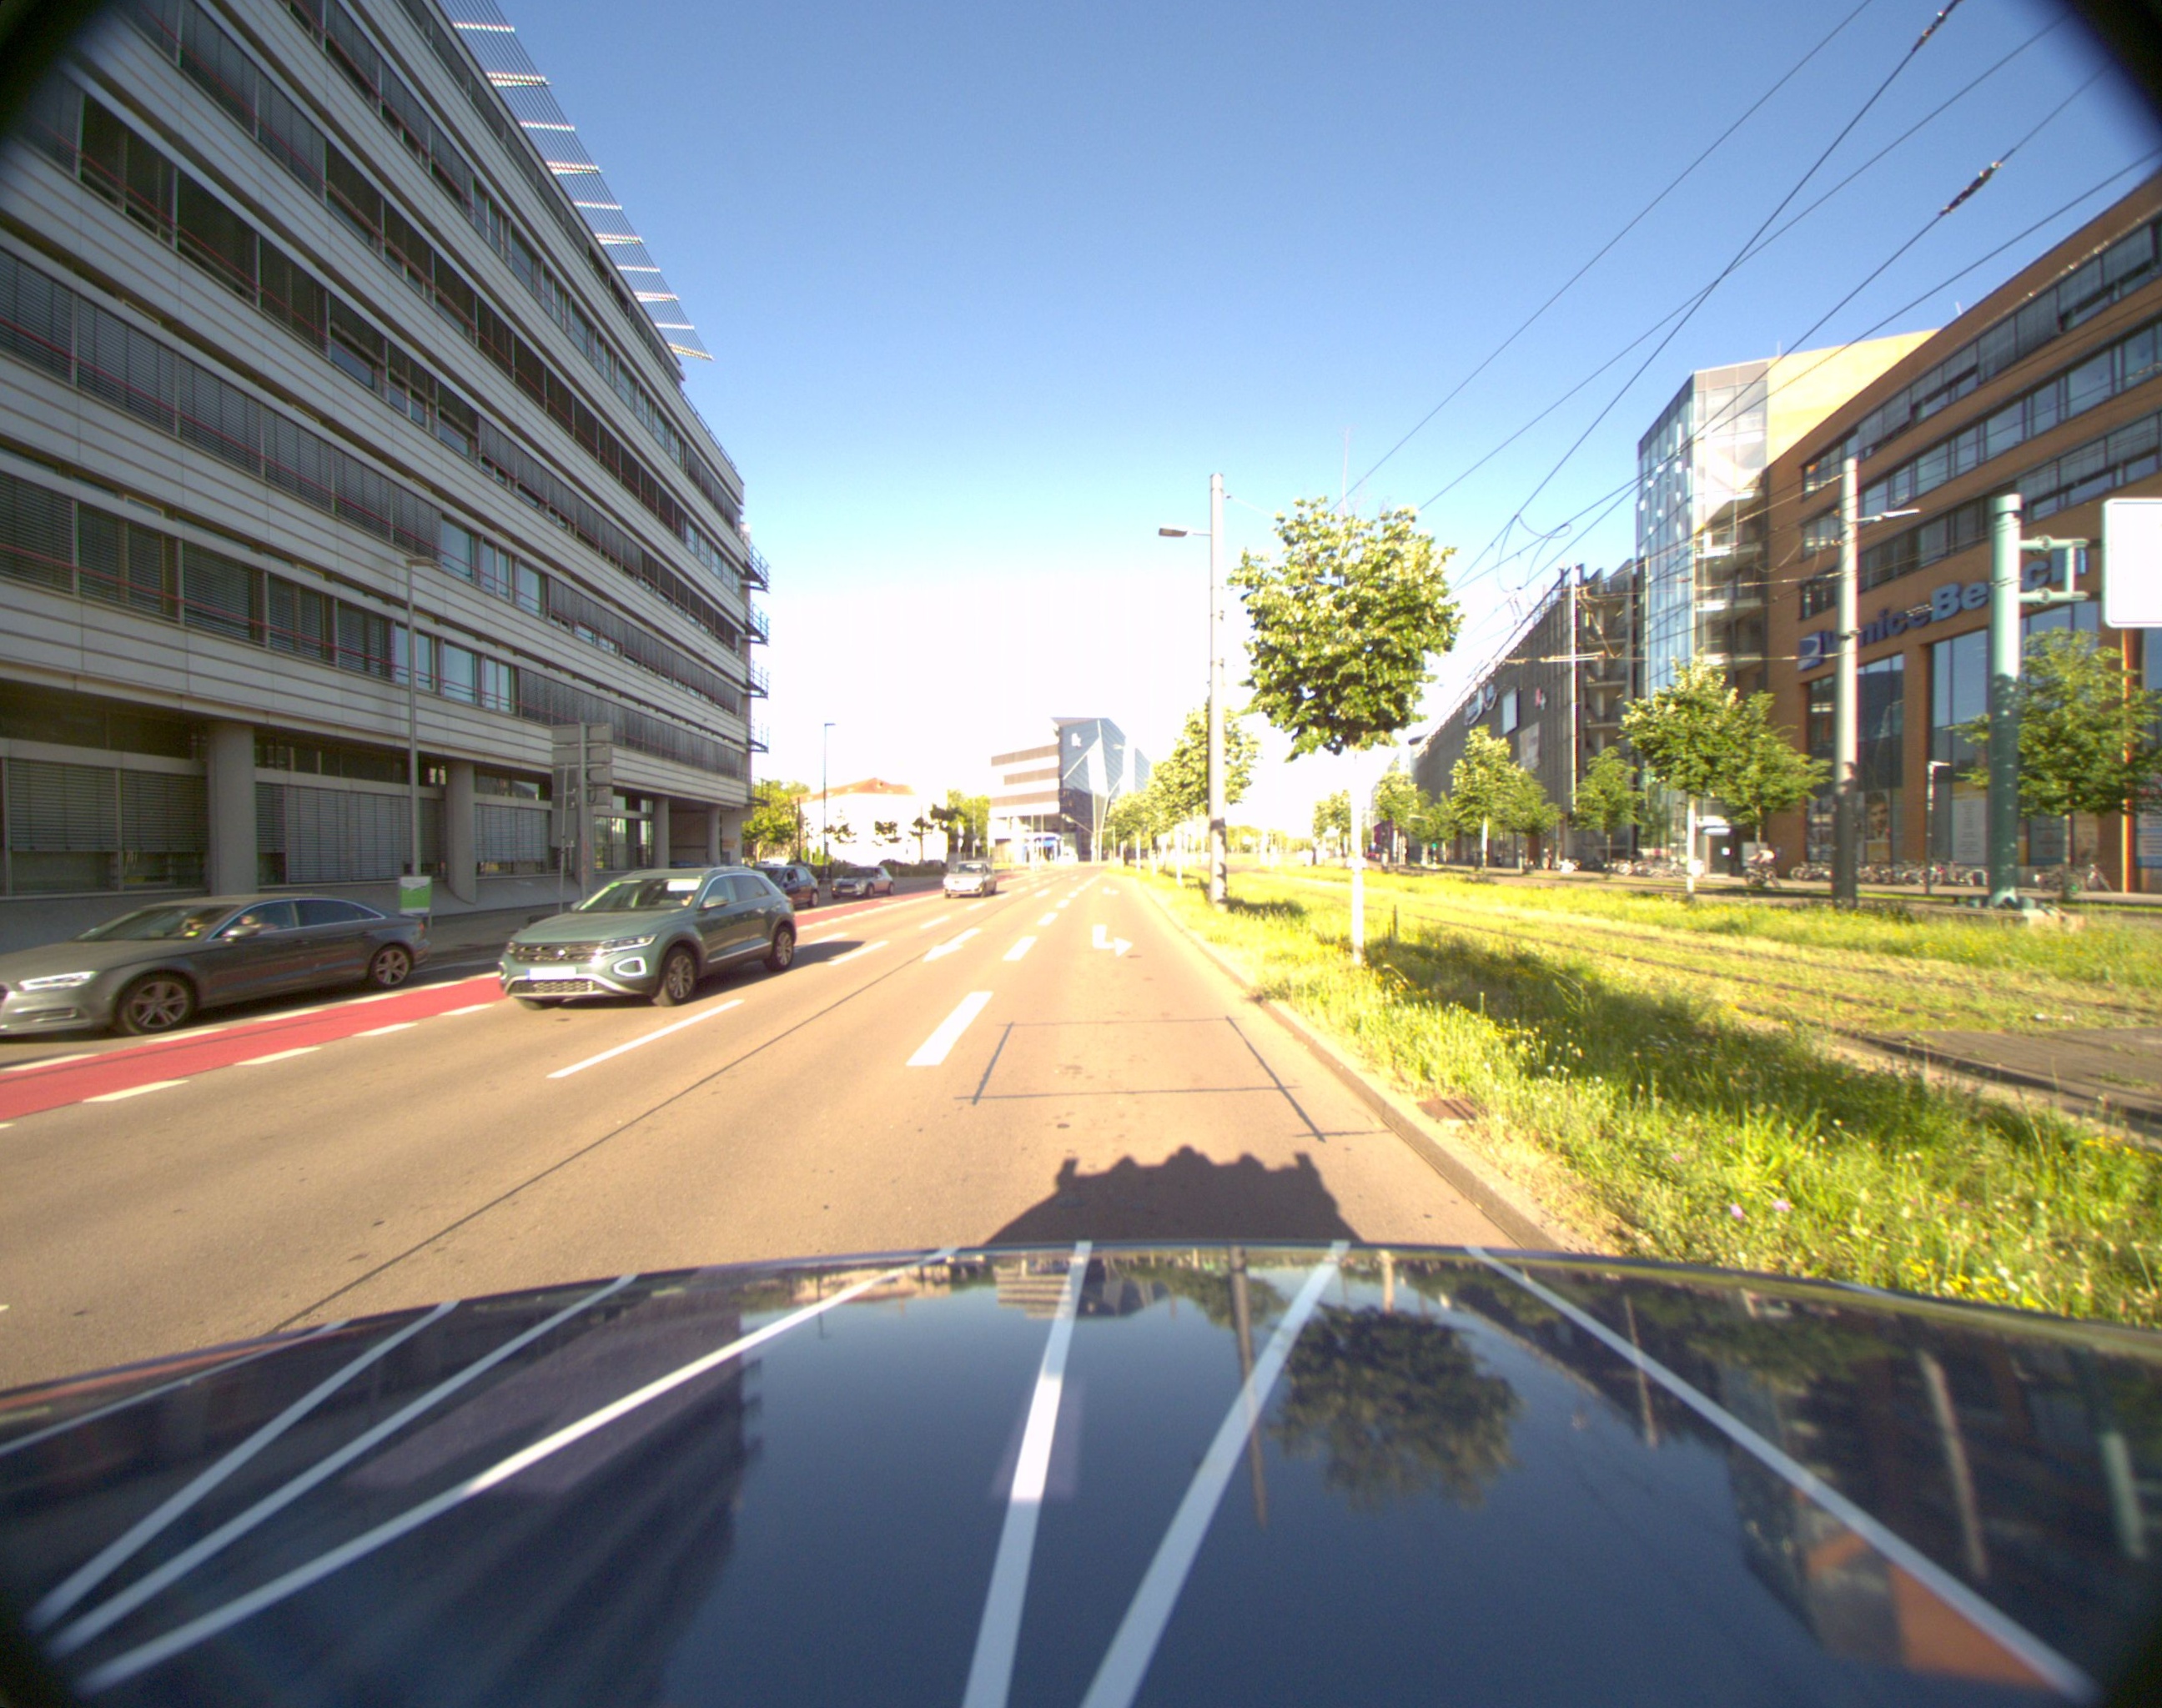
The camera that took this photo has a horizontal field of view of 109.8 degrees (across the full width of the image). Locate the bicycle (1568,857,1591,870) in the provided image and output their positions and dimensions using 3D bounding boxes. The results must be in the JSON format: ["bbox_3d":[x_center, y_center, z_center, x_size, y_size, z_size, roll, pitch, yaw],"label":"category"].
[{"bbox_3d":[37.632,0.715,57.340,1.398,0.921,0.462,-1,1,17],"label":"bicycle"}]

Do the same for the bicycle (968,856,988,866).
[{"bbox_3d":[-13.293,0.906,98.094,2.368,1.304,0.952,-1,1,13],"label":"bicycle"}]

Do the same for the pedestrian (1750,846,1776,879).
[{"bbox_3d":[35.336,0.446,39.384,0.746,1.659,0.676,-1,1,7],"label":"pedestrian"}]

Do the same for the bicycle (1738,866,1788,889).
[{"bbox_3d":[28.007,0.943,31.233,0.464,0.863,1.771,-1,1,1],"label":"bicycle"}]

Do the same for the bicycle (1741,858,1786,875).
[{"bbox_3d":[37.470,0.682,41.714,1.768,0.921,0.565,-1,1,17],"label":"bicycle"}]

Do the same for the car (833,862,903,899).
[{"bbox_3d":[-9.250,1.131,33.334,1.438,1.437,4.002,0,0,9],"label":"car"}]

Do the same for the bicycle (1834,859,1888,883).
[{"bbox_3d":[35.124,0.755,34.236,1.769,1.043,0.491,-1,1,8],"label":"bicycle"}]

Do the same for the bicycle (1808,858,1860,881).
[{"bbox_3d":[35.327,0.736,35.654,1.769,1.043,0.491,-1,1,8],"label":"bicycle"}]

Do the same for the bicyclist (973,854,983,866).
[{"bbox_3d":[-13.307,0.748,98.110,1.006,1.598,0.880,-1,1,14],"label":"bicyclist"}]

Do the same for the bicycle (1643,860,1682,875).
[{"bbox_3d":[35.139,0.810,45.923,1.768,0.921,0.565,-1,1,17],"label":"bicycle"}]

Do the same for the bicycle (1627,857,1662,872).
[{"bbox_3d":[36.006,0.680,48.560,1.768,0.921,0.491,-1,1,17],"label":"bicycle"}]

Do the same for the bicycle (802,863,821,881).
[{"bbox_3d":[-16.900,1.136,47.637,0.505,1.052,1.702,2,1,2],"label":"bicycle"}]

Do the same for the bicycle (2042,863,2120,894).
[{"bbox_3d":[34.130,0.840,25.956,1.769,1.043,0.491,-1,1,8],"label":"bicycle"}]

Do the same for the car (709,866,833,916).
[{"bbox_3d":[-9.989,1.136,24.817,1.734,1.437,4.004,-1,0,13],"label":"car"}]

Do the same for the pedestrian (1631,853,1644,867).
[{"bbox_3d":[40.738,0.426,55.625,0.629,1.048,0.450,-1,1,13],"label":"pedestrian"}]

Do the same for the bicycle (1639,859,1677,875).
[{"bbox_3d":[35.344,0.797,46.564,1.768,0.921,0.565,-1,1,17],"label":"bicycle"}]

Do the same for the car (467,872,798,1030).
[{"bbox_3d":[-5.311,1.039,9.696,1.749,1.496,3.881,-1,0,3],"label":"car"}]

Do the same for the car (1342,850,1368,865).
[{"bbox_3d":[25.828,0.295,71.712,1.808,1.320,4.409,0,1,13],"label":"car"}]

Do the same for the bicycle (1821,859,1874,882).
[{"bbox_3d":[35.241,0.745,34.945,1.769,1.043,0.491,-1,1,8],"label":"bicycle"}]

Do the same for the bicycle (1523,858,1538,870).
[{"bbox_3d":[32.661,0.725,55.201,0.386,0.863,1.773,0,1,13],"label":"bicycle"}]

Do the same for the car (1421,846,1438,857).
[{"bbox_3d":[54.153,-0.369,118.140,1.582,1.521,3.754,-2,1,13],"label":"car"}]

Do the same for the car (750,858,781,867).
[{"bbox_3d":[-46.517,1.293,112.100,3.990,1.237,2.003,-1,1,22],"label":"car"}]

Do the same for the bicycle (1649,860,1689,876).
[{"bbox_3d":[34.937,0.823,45.162,1.768,0.921,0.565,-1,1,17],"label":"bicycle"}]

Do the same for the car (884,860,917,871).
[{"bbox_3d":[-24.894,1.620,104.699,3.991,1.414,2.003,-1,1,20],"label":"car"}]

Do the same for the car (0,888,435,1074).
[{"bbox_3d":[-10.420,1.276,9.105,1.714,1.433,4.110,-1,2,2],"label":"car"}]

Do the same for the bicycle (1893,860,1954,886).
[{"bbox_3d":[34.904,0.787,31.484,1.769,1.043,0.491,-1,1,8],"label":"bicycle"}]

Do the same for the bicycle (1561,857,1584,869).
[{"bbox_3d":[37.985,0.690,58.762,1.398,0.921,0.462,-1,1,17],"label":"bicycle"}]

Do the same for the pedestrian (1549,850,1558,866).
[{"bbox_3d":[38.393,0.354,61.682,0.448,1.282,0.630,0,1,13],"label":"pedestrian"}]

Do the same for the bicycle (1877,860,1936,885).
[{"bbox_3d":[34.970,0.778,32.210,1.769,1.043,0.491,-1,1,8],"label":"bicycle"}]

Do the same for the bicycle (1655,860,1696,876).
[{"bbox_3d":[34.707,0.838,44.367,1.768,0.921,0.565,-1,1,17],"label":"bicycle"}]

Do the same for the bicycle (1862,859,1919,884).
[{"bbox_3d":[35.051,0.769,32.923,1.769,1.043,0.491,-1,1,8],"label":"bicycle"}]

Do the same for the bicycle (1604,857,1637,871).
[{"bbox_3d":[36.783,0.701,51.817,1.768,0.921,0.491,-1,1,17],"label":"bicycle"}]

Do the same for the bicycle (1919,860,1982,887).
[{"bbox_3d":[35.248,0.781,30.820,1.769,1.043,0.491,-1,1,8],"label":"bicycle"}]

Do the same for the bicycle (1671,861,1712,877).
[{"bbox_3d":[34.722,0.848,43.228,1.768,0.921,0.565,-1,1,17],"label":"bicycle"}]

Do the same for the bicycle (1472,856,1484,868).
[{"bbox_3d":[31.584,0.669,60.481,0.386,0.918,1.773,0,1,13],"label":"bicycle"}]

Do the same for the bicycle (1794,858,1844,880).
[{"bbox_3d":[35.547,0.720,36.615,1.769,1.043,0.491,-1,1,8],"label":"bicycle"}]

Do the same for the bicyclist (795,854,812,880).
[{"bbox_3d":[-17.321,0.807,47.443,0.685,1.609,0.991,-1,1,2],"label":"bicyclist"}]

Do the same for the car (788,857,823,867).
[{"bbox_3d":[-39.764,1.152,109.706,4.516,1.414,2.002,-1,1,17],"label":"car"}]

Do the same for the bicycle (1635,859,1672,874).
[{"bbox_3d":[35.543,0.784,47.213,1.768,0.921,0.565,-1,1,17],"label":"bicycle"}]

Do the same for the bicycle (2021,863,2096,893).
[{"bbox_3d":[34.167,0.834,26.567,1.769,1.043,0.491,-1,1,8],"label":"bicycle"}]

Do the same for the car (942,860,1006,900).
[{"bbox_3d":[-4.316,1.009,31.197,1.619,1.421,3.769,-2,1,7],"label":"car"}]

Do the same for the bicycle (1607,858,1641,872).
[{"bbox_3d":[36.553,0.714,51.161,1.768,0.921,0.565,-1,1,17],"label":"bicycle"}]

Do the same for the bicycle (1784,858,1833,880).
[{"bbox_3d":[35.612,0.712,37.196,1.769,1.043,0.491,-1,1,8],"label":"bicycle"}]
